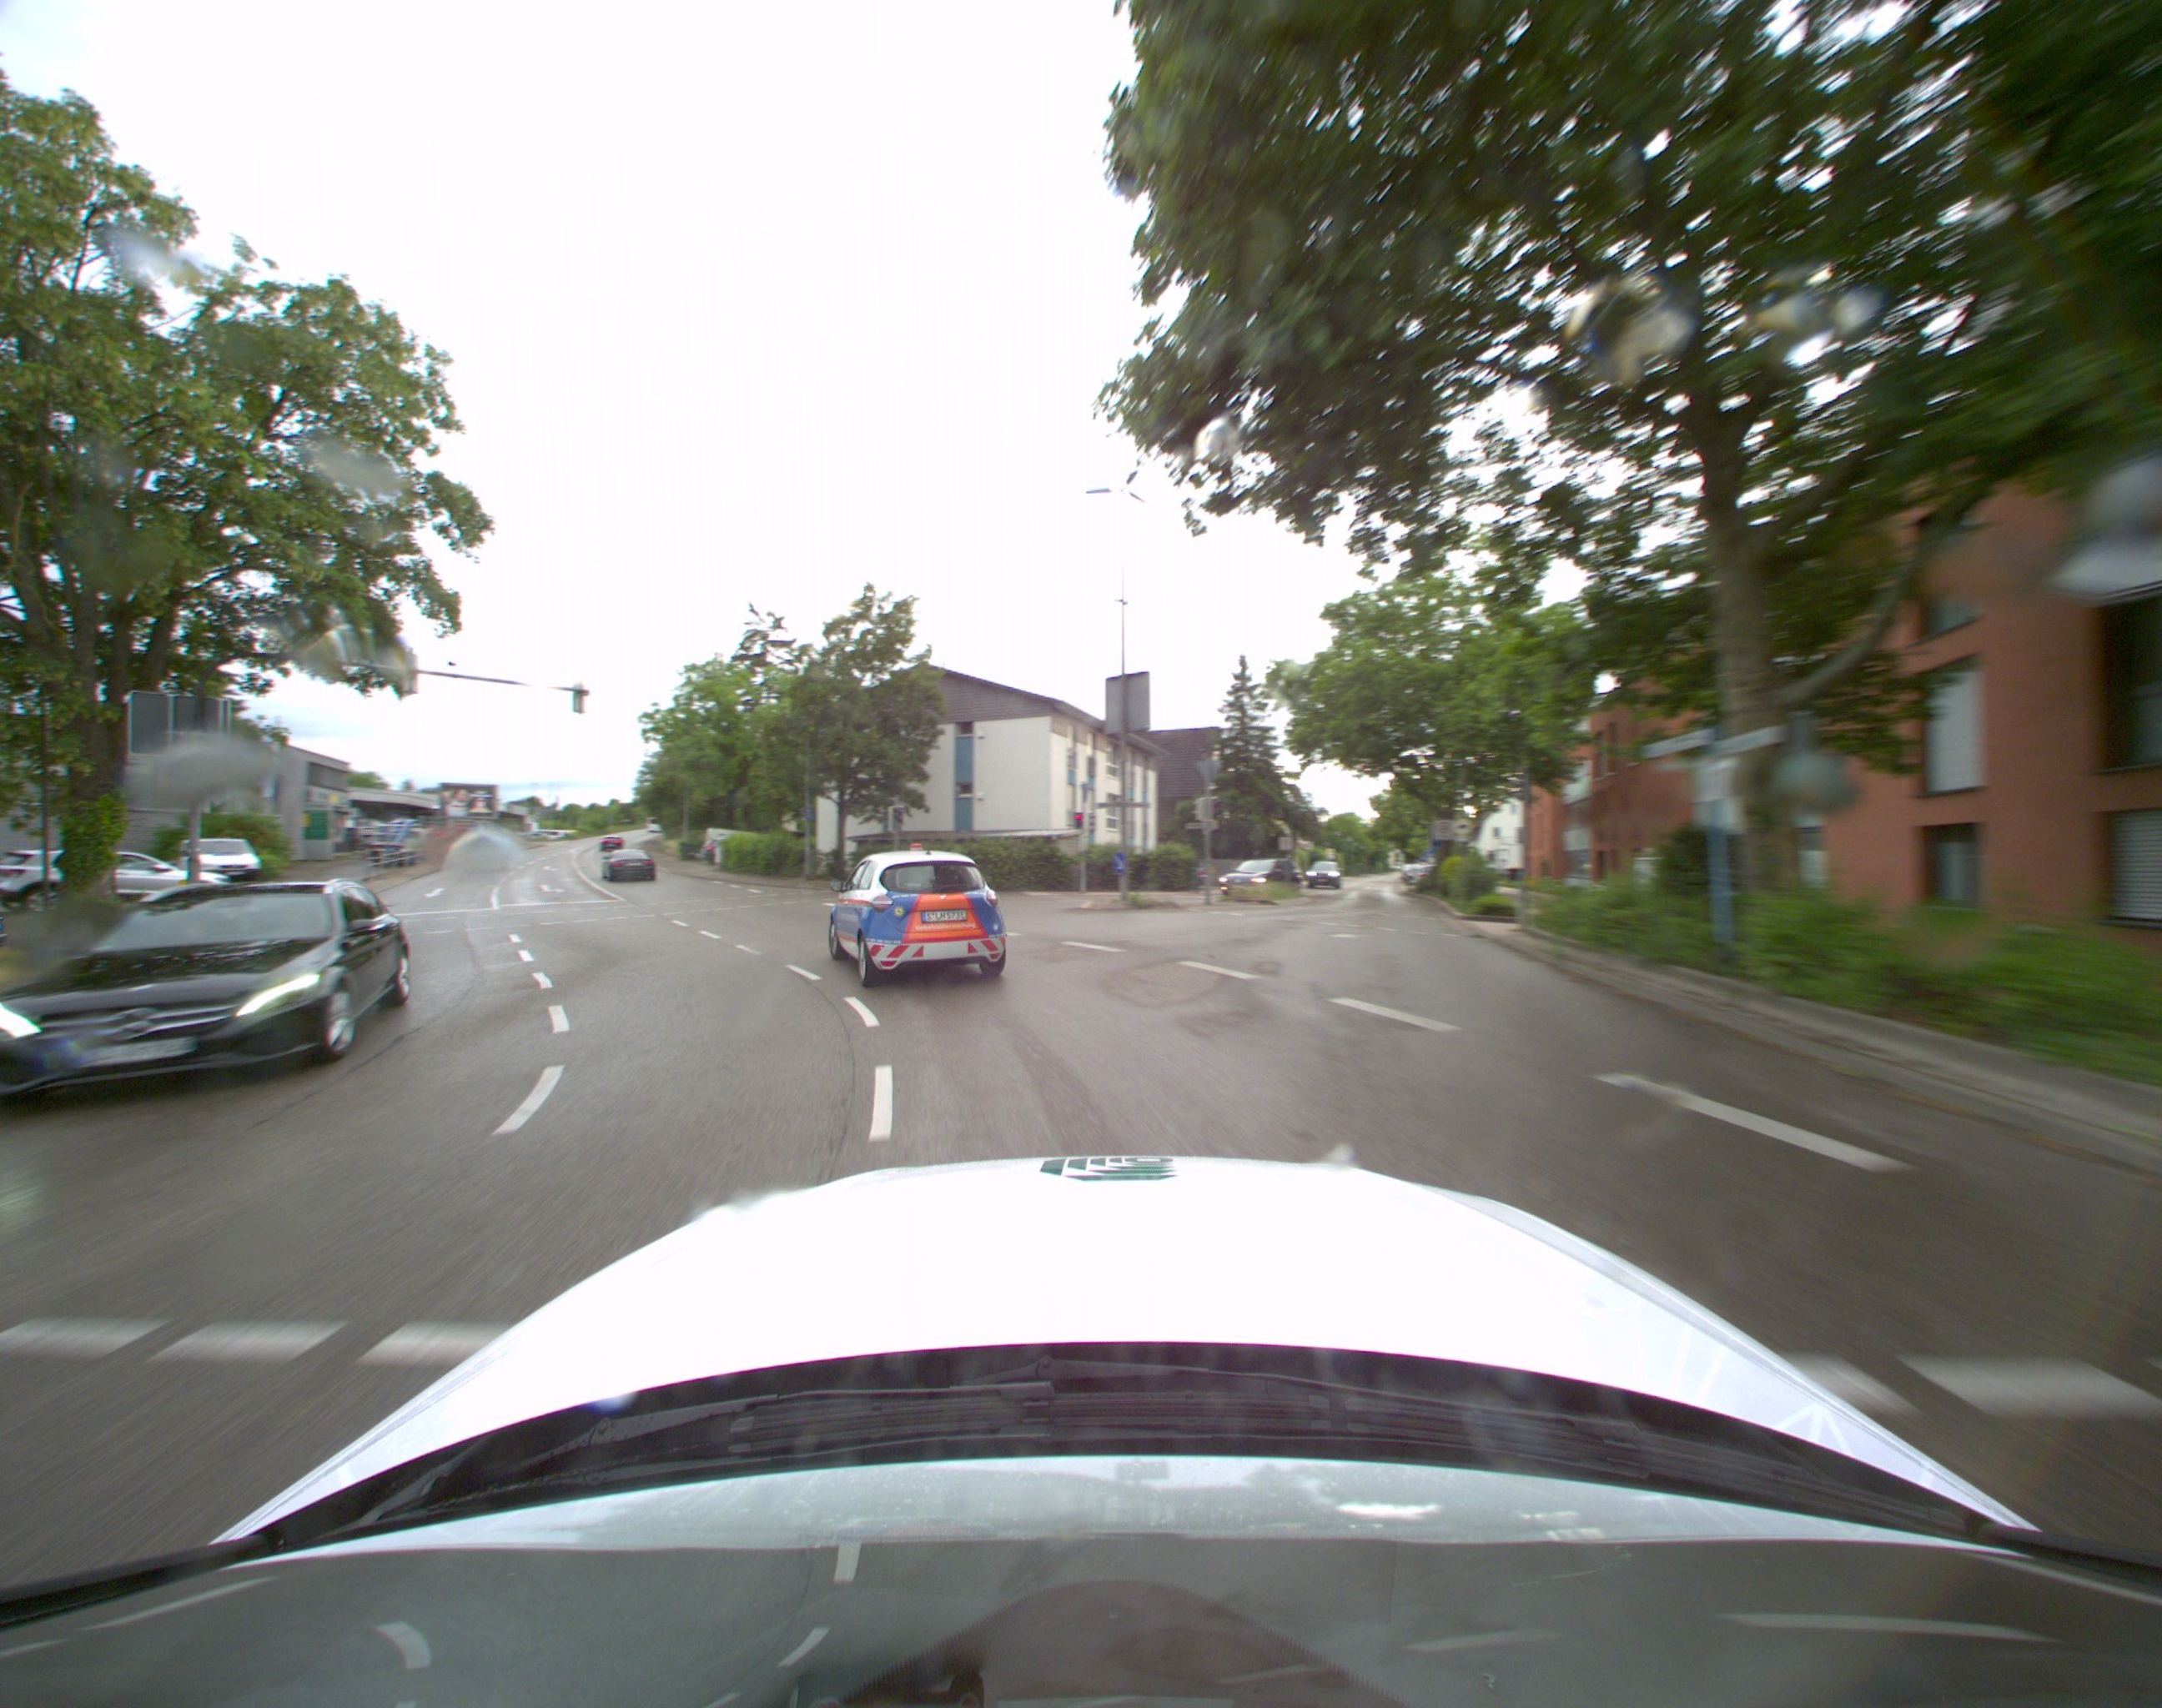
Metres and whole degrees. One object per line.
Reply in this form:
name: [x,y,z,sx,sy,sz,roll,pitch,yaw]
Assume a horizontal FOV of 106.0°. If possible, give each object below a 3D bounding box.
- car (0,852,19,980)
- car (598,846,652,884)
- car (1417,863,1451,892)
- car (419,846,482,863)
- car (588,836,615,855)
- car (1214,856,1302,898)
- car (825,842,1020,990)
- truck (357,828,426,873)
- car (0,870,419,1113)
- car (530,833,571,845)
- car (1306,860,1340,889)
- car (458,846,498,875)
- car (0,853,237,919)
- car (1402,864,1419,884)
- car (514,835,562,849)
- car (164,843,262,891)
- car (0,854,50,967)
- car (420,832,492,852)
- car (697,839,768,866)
car: [-14.608,0.827,8.408,4.012,1.555,1.741,-2,2,-30]
car: [-20.429,0.432,36.478,2.006,1.574,3.962,0,1,-30]
car: [19.819,1.284,45.820,1.629,1.512,4.168,0,0,21]
car: [-52.725,0.062,68.180,4.022,1.376,1.792,1,-1,-43]
car: [-43.972,-0.766,74.739,2.005,1.684,3.964,0,0,-28]
car: [6.863,0.884,31.328,1.923,1.452,4.326,1,-1,32]
car: [-2.312,0.681,10.976,1.754,1.581,3.968,-1,0,-24]
truck: [-40.572,-0.249,48.039,2.005,2.539,5.508,1,1,-29]
car: [-7.510,0.930,7.424,1.718,1.392,4.306,-1,1,-32]
car: [-78.779,-2.264,121.023,1.791,1.623,4.801,0,0,30]
car: [14.874,1.200,49.925,1.862,1.669,3.731,1,0,19]
car: [-31.702,0.327,42.906,1.598,1.404,3.668,0,1,-35]
car: [-25.062,0.830,21.067,1.739,1.522,4.021,1,-3,24]
car: [34.753,2.078,85.905,1.629,2.017,3.734,0,0,21]
car: [-69.677,-1.524,104.507,1.791,1.623,4.801,0,0,30]
car: [-38.187,0.521,35.824,3.949,1.994,2.012,1,1,28]
car: [-16.722,0.780,10.427,4.016,1.510,1.739,0,1,-35]
car: [-54.265,-1.005,70.820,4.791,1.623,1.795,1,-1,-34]
car: [-22.462,-0.110,52.519,4.011,1.723,1.981,0,1,-29]
